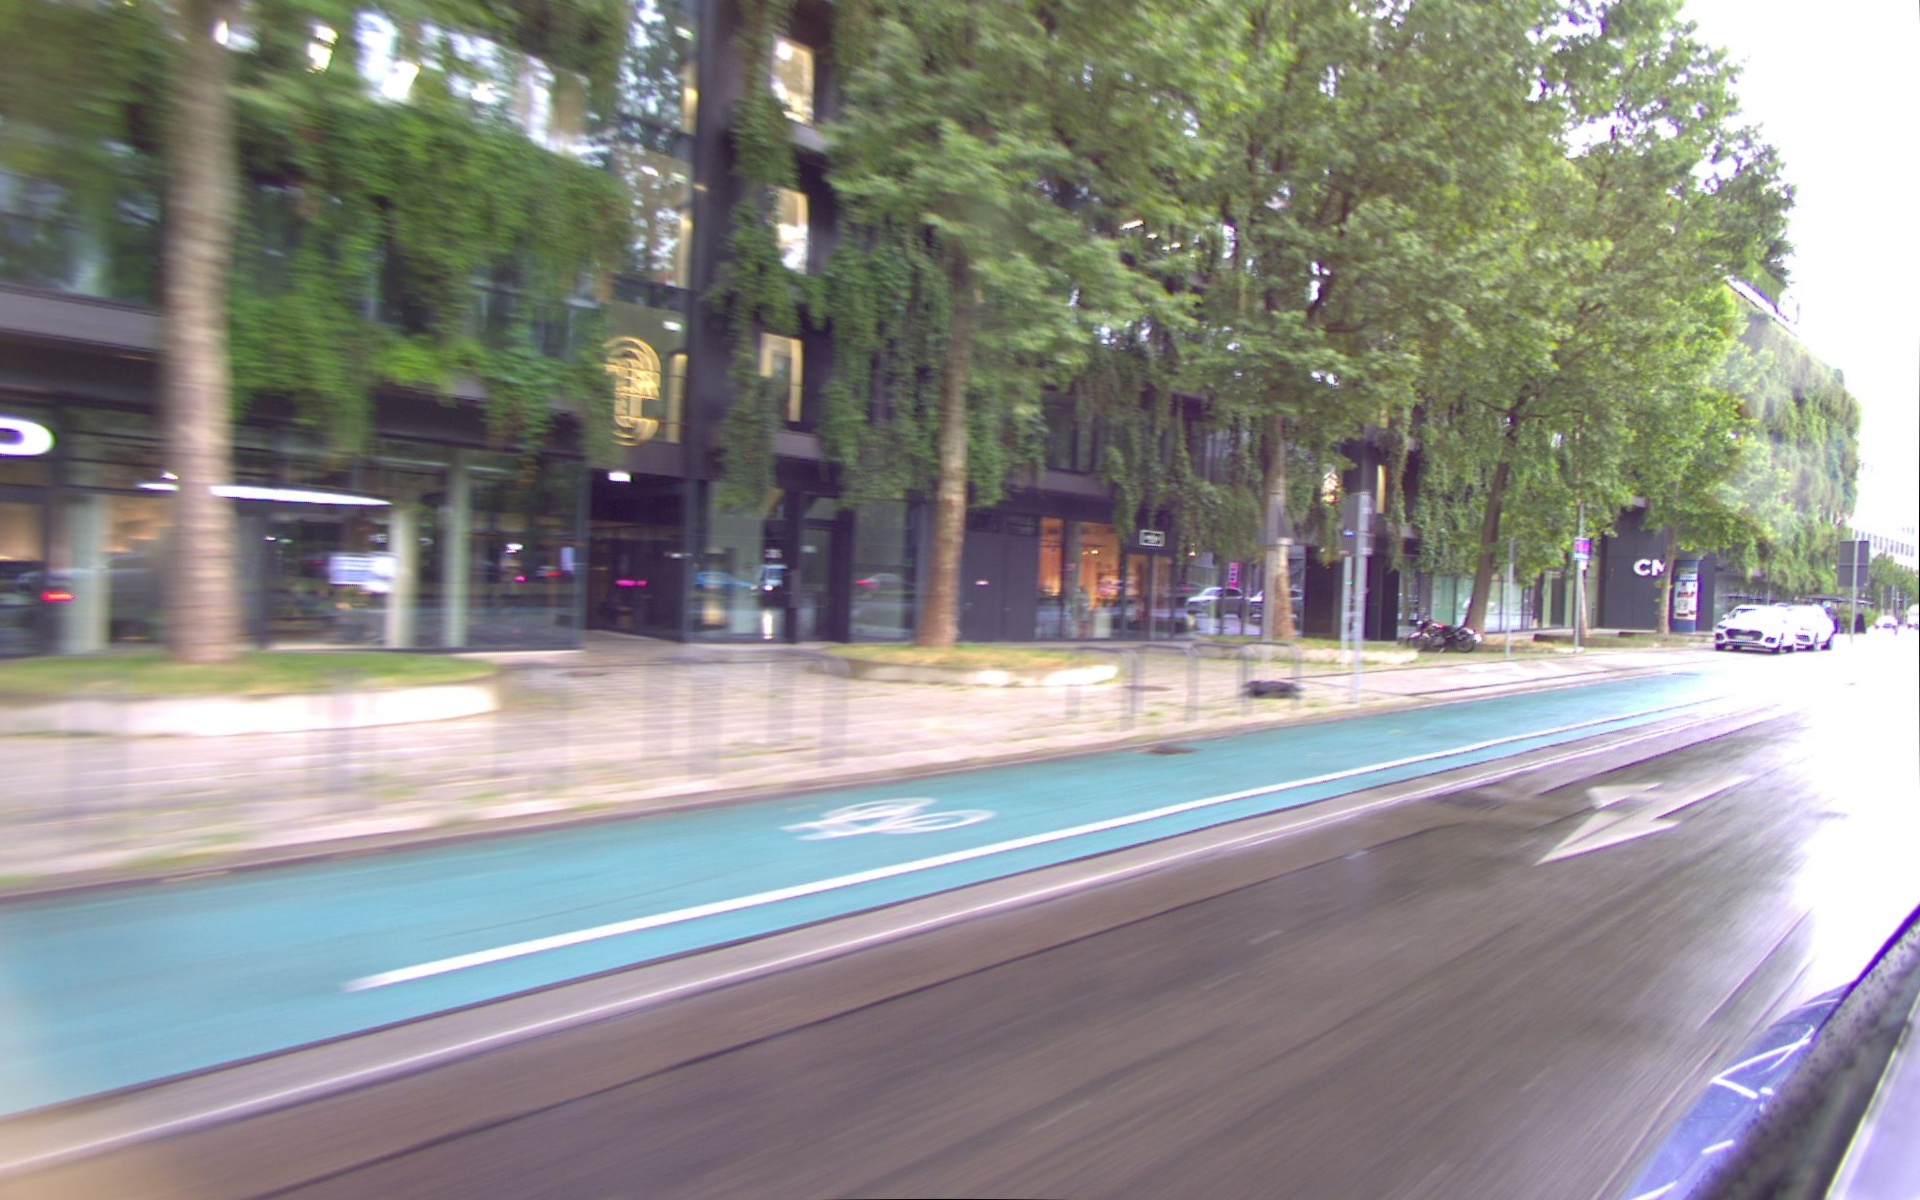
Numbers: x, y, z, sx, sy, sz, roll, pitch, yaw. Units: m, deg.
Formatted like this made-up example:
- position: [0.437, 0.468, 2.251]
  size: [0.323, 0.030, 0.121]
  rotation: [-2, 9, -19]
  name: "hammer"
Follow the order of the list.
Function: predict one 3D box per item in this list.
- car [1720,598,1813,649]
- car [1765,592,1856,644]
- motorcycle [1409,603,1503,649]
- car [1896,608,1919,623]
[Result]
- position: [29.080, 0.827, 36.418]
  size: [4.703, 1.653, 1.846]
  rotation: [1, 0, -42]
  name: "car"
- position: [33.912, 0.717, 40.283]
  size: [5.002, 1.861, 1.848]
  rotation: [1, 2, -40]
  name: "car"
- position: [14.771, 0.756, 30.178]
  size: [1.034, 1.286, 2.311]
  rotation: [1, -1, -42]
  name: "motorcycle"
- position: [103.148, 1.661, 109.827]
  size: [4.589, 1.572, 1.738]
  rotation: [1, 1, -41]
  name: "car"
